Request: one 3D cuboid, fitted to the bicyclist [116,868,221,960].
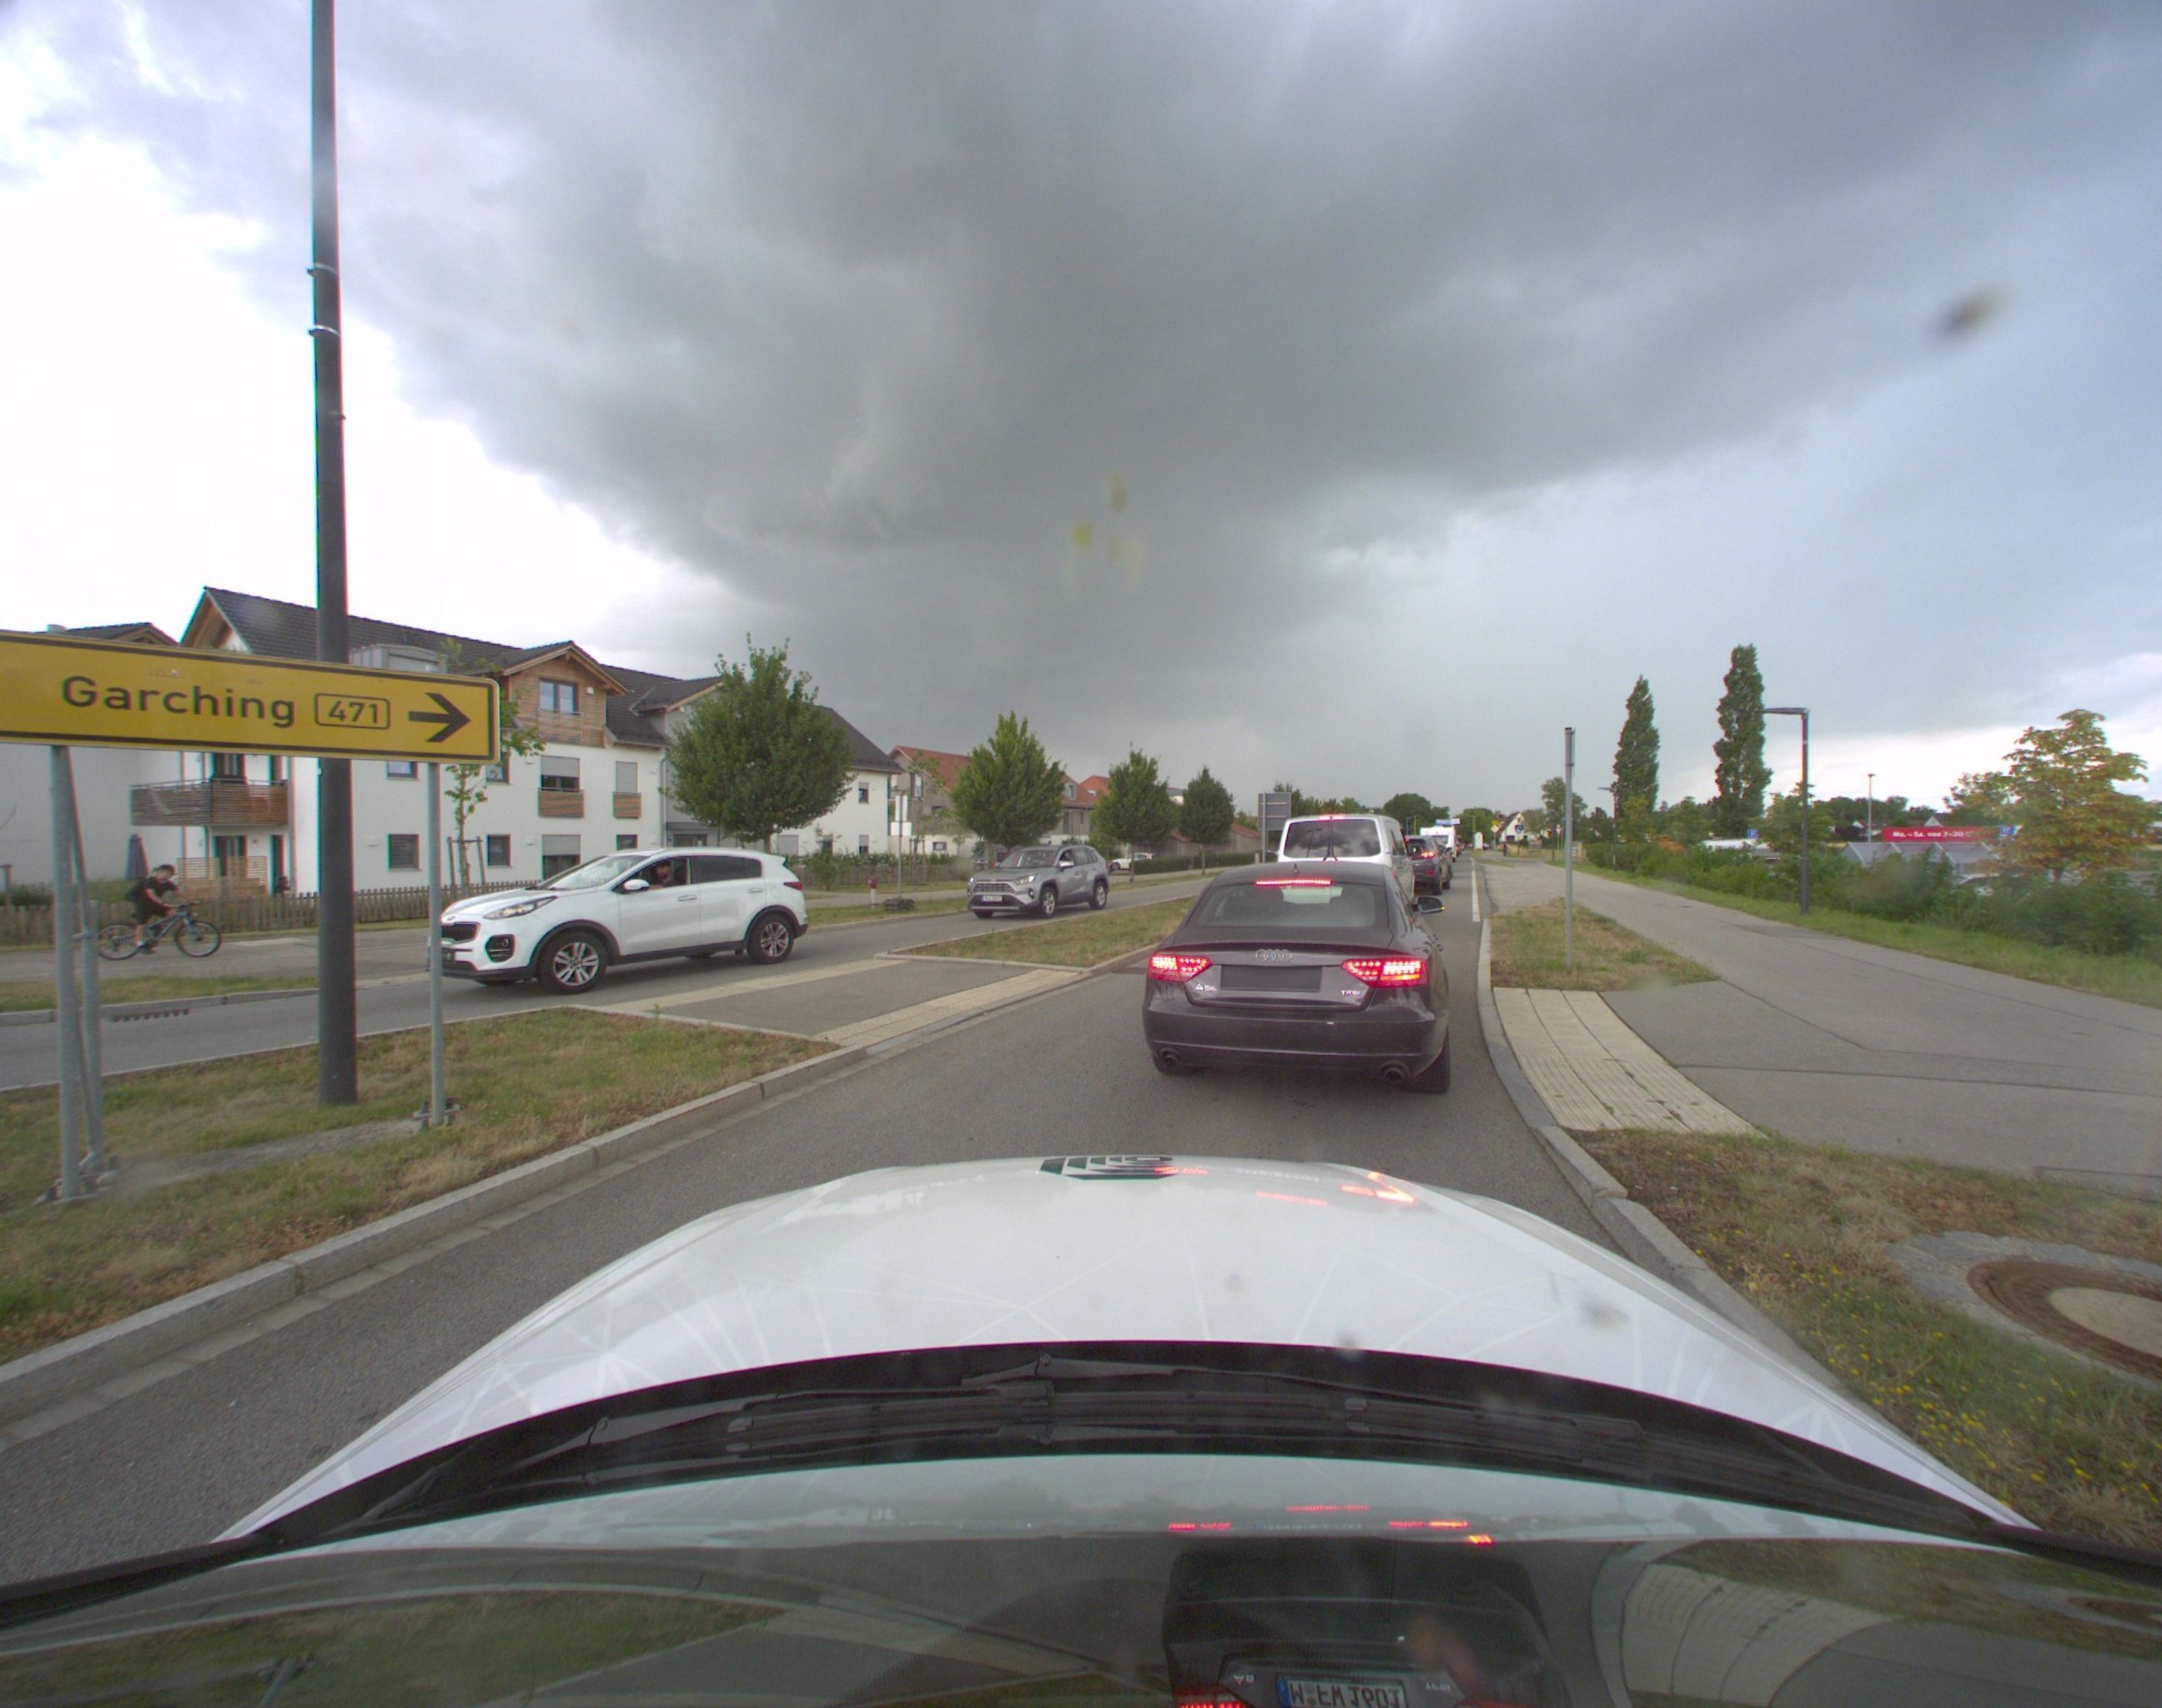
[{"bbox_3d":[-15.132,0.970,13.529,0.868,1.446,0.720,-2,0,-17],"label":"bicyclist"}]

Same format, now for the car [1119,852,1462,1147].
[{"bbox_3d":[1.844,0.702,6.208,1.768,1.391,4.155,0,1,23],"label":"car"}]

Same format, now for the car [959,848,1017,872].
[{"bbox_3d":[-6.960,0.422,61.251,1.974,1.772,4.493,0,0,31],"label":"car"}]

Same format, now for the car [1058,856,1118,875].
[{"bbox_3d":[0.513,0.798,58.959,3.880,1.315,1.853,0,1,23],"label":"car"}]

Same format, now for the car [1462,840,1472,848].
[{"bbox_3d":[72.266,-1.840,152.440,1.598,1.408,3.637,0,1,26],"label":"car"}]

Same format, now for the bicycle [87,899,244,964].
[{"bbox_3d":[-15.135,1.264,13.501,1.711,0.946,0.495,-2,0,-16],"label":"bicycle"}]

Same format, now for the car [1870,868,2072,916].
[{"bbox_3d":[29.982,1.226,27.640,4.194,1.440,2.012,0,1,26],"label":"car"}]

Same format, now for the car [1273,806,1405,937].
[{"bbox_3d":[4.605,0.233,14.165,1.851,1.934,4.022,0,1,22],"label":"car"}]

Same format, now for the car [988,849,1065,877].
[{"bbox_3d":[-3.459,0.514,51.425,4.487,1.680,2.012,0,1,29],"label":"car"}]

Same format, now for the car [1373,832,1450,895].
[{"bbox_3d":[9.523,0.222,23.276,1.760,1.618,4.024,1,1,26],"label":"car"}]

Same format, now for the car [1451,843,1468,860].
[{"bbox_3d":[41.061,-0.274,88.310,1.598,1.793,4.024,0,1,26],"label":"car"}]

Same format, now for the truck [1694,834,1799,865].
[{"bbox_3d":[42.075,-0.306,51.647,4.755,1.872,2.011,1,1,21],"label":"truck"}]

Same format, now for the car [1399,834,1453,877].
[{"bbox_3d":[13.745,0.052,32.307,1.760,1.618,4.023,-1,0,25],"label":"car"}]

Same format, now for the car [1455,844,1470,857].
[{"bbox_3d":[47.441,-0.484,101.364,1.598,1.630,3.637,0,1,26],"label":"car"}]

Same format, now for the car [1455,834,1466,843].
[{"bbox_3d":[91.454,-3.788,196.368,1.974,2.211,4.025,0,1,30],"label":"car"}]

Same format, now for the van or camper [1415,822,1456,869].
[{"bbox_3d":[26.533,-0.627,60.839,2.601,3.323,6.860,0,0,25],"label":"van or camper"}]

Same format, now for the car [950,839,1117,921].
[{"bbox_3d":[-0.965,0.530,19.536,1.975,1.704,4.662,-1,0,26],"label":"car"}]

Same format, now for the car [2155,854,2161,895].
[{"bbox_3d":[45.232,0.838,31.203,4.515,1.664,2.012,0,1,26],"label":"car"}]

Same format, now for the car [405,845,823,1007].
[{"bbox_3d":[-5.676,0.714,10.597,1.692,1.626,4.478,-1,0,28],"label":"car"}]

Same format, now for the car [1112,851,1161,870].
[{"bbox_3d":[4.645,0.545,67.756,3.697,1.482,1.696,0,1,22],"label":"car"}]
